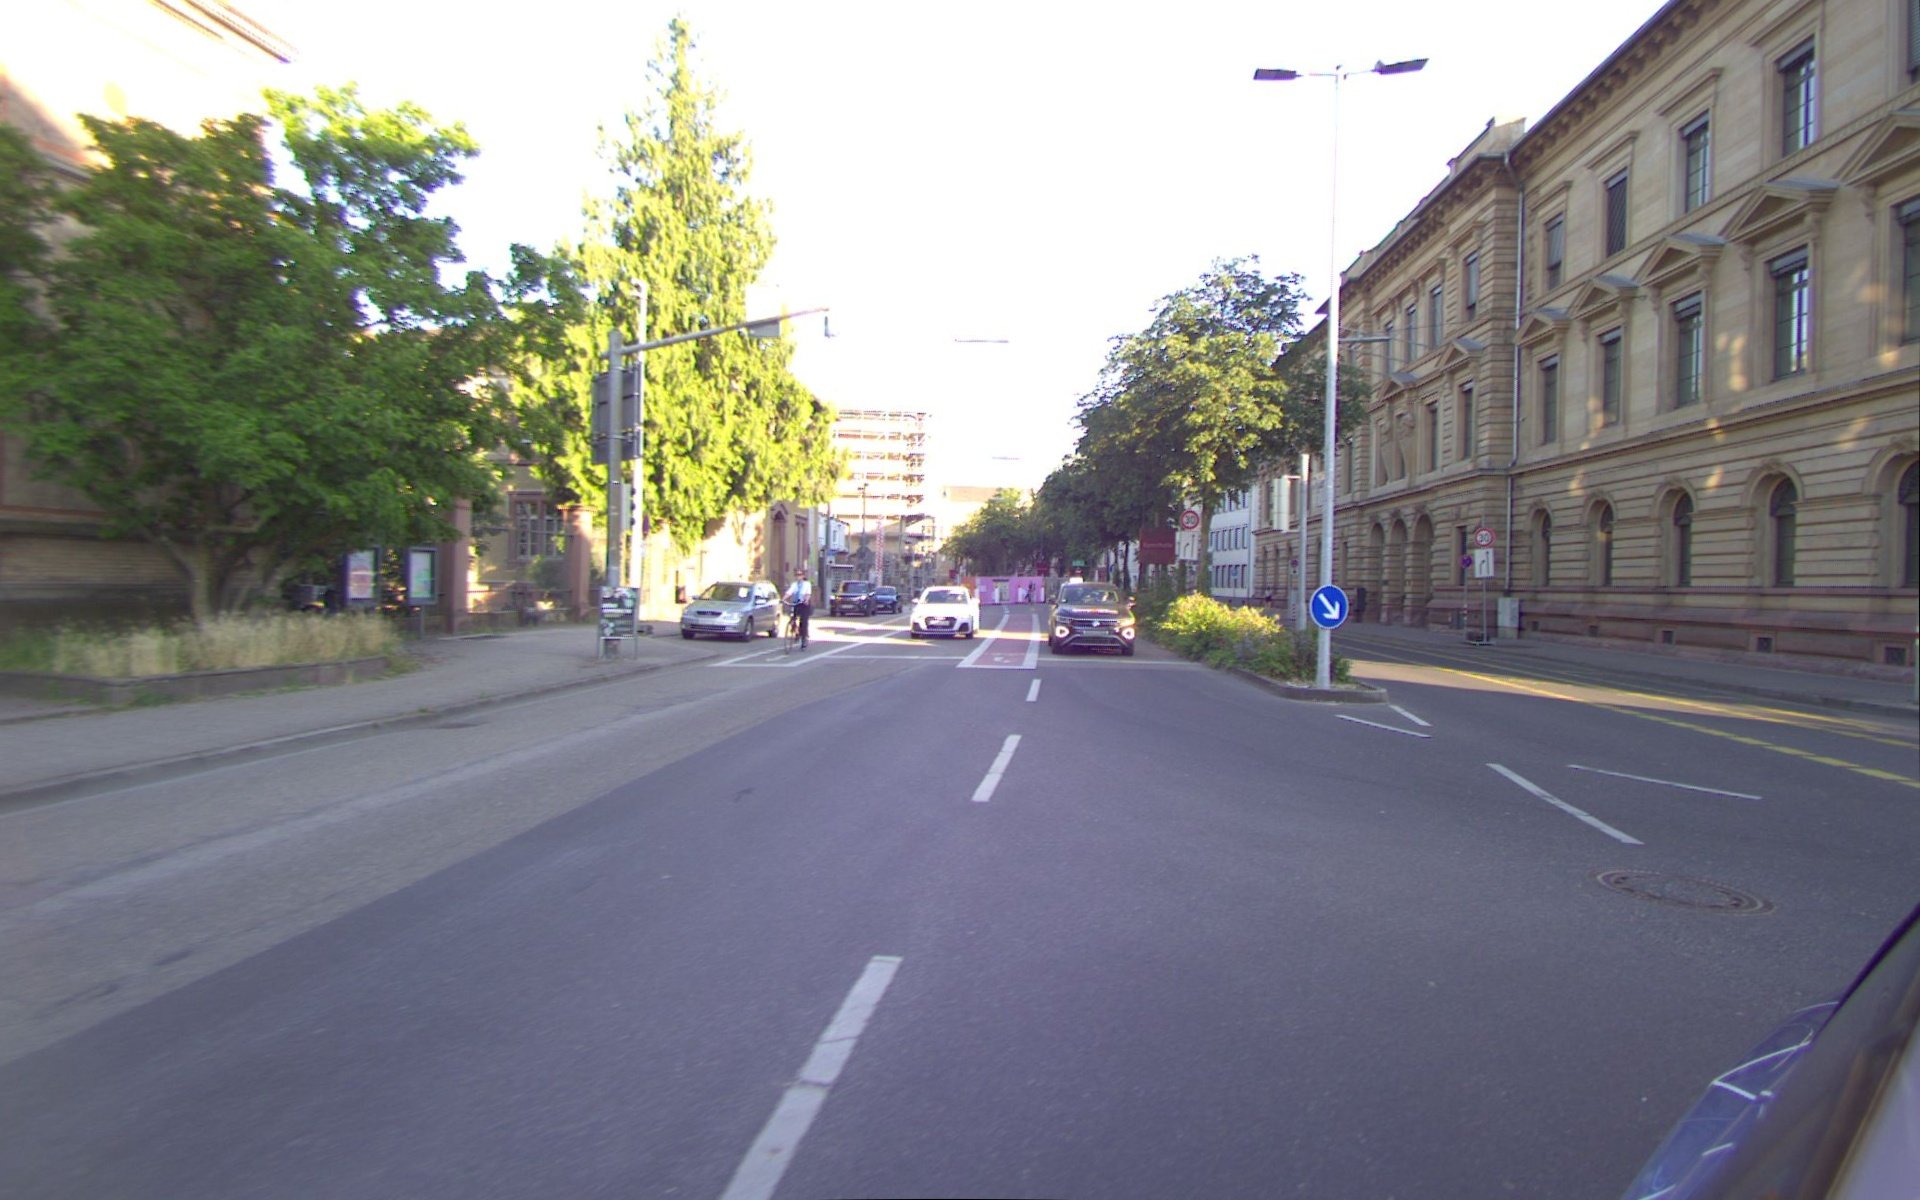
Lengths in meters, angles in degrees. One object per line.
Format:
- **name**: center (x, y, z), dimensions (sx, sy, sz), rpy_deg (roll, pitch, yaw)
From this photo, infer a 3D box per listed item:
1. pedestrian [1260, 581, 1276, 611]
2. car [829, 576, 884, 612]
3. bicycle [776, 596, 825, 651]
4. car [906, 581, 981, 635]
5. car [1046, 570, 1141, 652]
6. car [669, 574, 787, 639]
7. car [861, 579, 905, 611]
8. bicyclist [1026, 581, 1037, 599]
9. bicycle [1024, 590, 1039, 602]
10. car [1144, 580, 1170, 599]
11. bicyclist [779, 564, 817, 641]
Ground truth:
- **pedestrian**: center (19.942, -0.274, 65.485), dimensions (0.761, 1.876, 0.811), rpy_deg (1, 1, 5)
- **car**: center (-4.584, -0.316, 45.418), dimensions (1.802, 1.510, 4.073), rpy_deg (1, 1, 4)
- **bicycle**: center (-3.422, 0.484, 21.838), dimensions (0.488, 1.114, 1.662), rpy_deg (0, 1, 12)
- **car**: center (-0.403, 0.170, 28.650), dimensions (1.802, 1.408, 4.019), rpy_deg (1, 1, 4)
- **car**: center (2.873, 0.172, 22.508), dimensions (1.802, 1.632, 4.073), rpy_deg (1, 1, 4)
- **car**: center (-5.772, 0.115, 25.693), dimensions (1.685, 1.463, 4.193), rpy_deg (1, 1, 6)
- **car**: center (-3.852, -0.283, 50.975), dimensions (1.658, 1.510, 4.073), rpy_deg (1, 1, 4)
- **bicyclist**: center (5.079, -0.716, 71.754), dimensions (0.583, 1.238, 0.792), rpy_deg (1, 1, 23)
- **bicycle**: center (5.072, -0.289, 71.762), dimensions (0.584, 0.851, 1.734), rpy_deg (2, 1, 23)
- **car**: center (20.474, -1.083, 105.159), dimensions (1.684, 1.871, 3.829), rpy_deg (1, 1, -3)
- **bicyclist**: center (-3.508, 0.051, 21.978), dimensions (0.657, 1.664, 0.519), rpy_deg (0, 1, 12)
